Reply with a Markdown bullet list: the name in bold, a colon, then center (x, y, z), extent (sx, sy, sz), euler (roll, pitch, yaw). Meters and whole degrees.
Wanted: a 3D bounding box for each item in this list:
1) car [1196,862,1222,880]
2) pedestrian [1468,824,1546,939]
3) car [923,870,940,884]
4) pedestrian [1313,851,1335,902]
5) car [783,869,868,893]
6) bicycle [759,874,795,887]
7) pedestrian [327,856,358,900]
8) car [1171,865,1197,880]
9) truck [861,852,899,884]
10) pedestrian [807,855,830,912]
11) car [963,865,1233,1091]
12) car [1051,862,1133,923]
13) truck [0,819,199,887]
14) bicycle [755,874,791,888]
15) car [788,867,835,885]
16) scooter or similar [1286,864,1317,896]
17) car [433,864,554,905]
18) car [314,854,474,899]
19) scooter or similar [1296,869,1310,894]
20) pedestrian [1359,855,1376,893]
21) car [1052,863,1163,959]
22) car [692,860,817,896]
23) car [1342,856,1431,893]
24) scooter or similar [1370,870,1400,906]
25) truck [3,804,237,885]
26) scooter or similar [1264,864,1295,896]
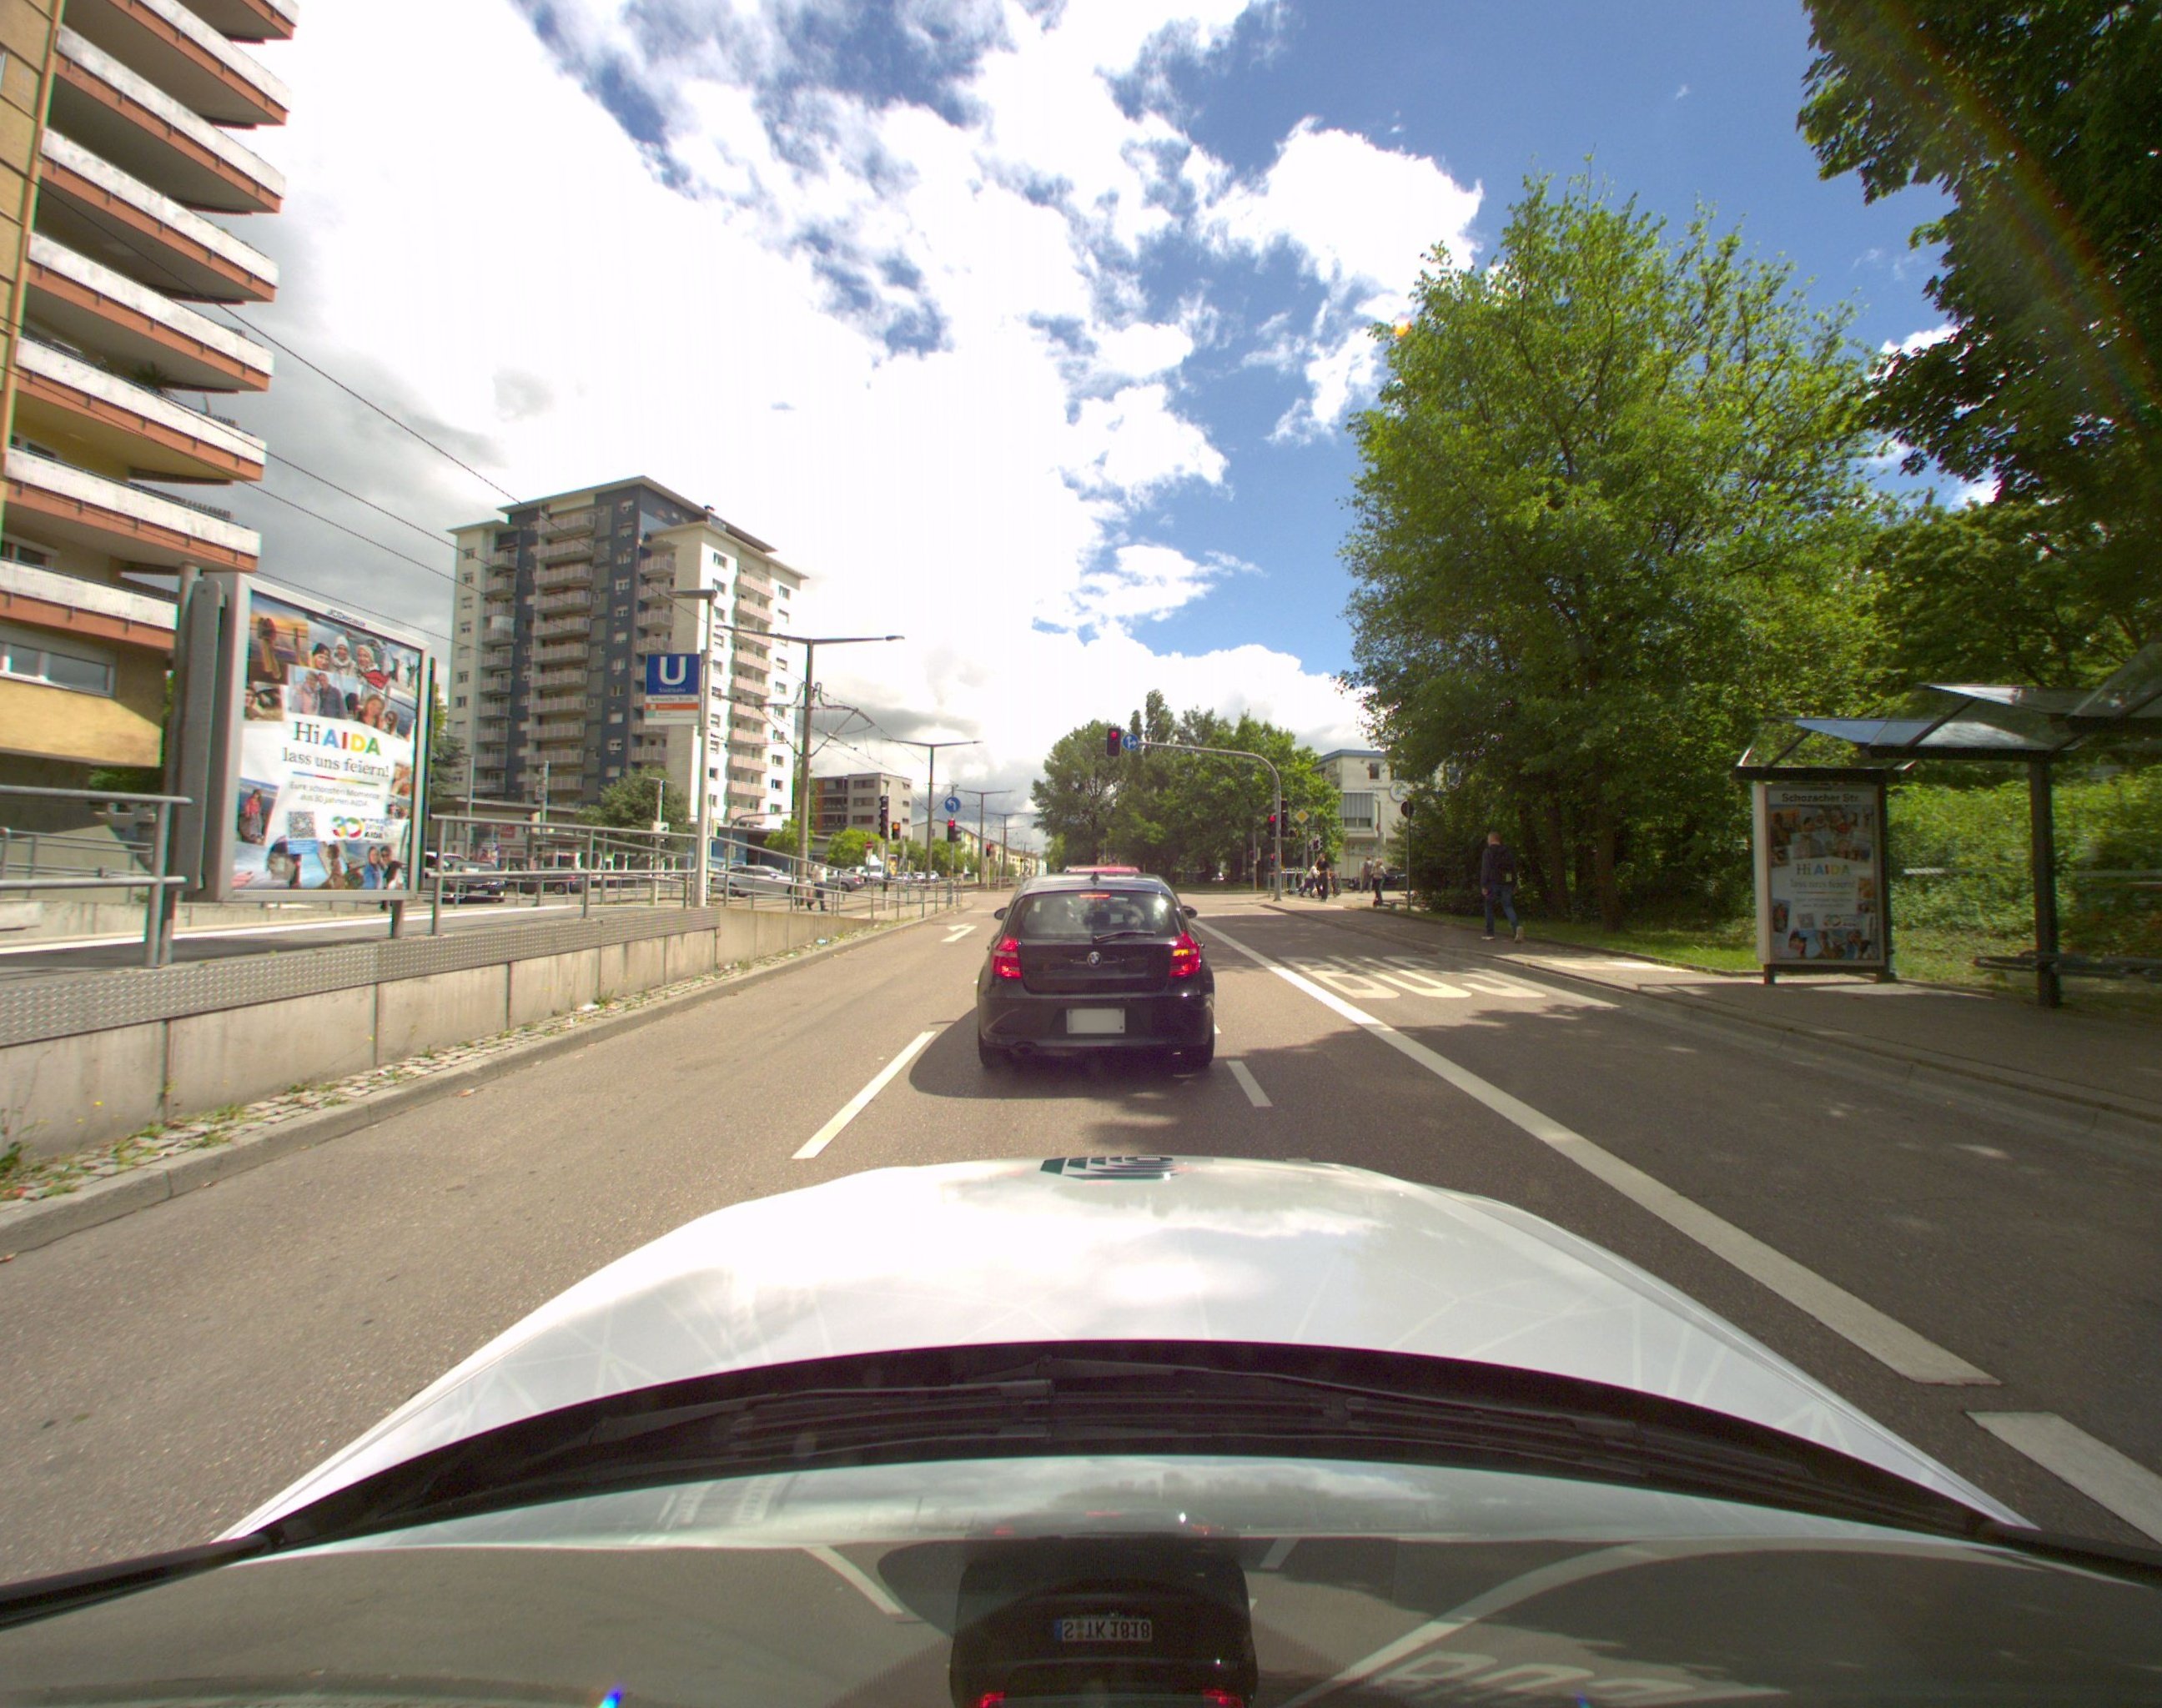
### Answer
- **car**: center (13.468, 1.778, 85.680), extent (1.724, 1.871, 3.990), euler (0, -1, -7)
- **pedestrian**: center (7.201, 0.459, 13.824), extent (0.792, 1.876, 1.014), euler (0, -1, 1)
- **car**: center (-20.198, 3.084, 110.211), extent (1.586, 1.756, 3.775), euler (0, -1, 1)
- **pedestrian**: center (9.032, 0.818, 30.281), extent (0.637, 1.876, 0.515), euler (0, -1, -16)
- **car**: center (-14.721, 1.564, 47.157), extent (4.437, 1.329, 1.676), euler (0, -1, -6)
- **bicycle**: center (-24.276, 2.138, 65.077), extent (2.570, 1.009, 0.749), euler (2, -3, -27)
- **pedestrian**: center (-24.279, 0.775, 26.765), extent (0.494, 1.440, 0.551), euler (-1, -1, 12)
- **car**: center (11.425, 2.076, 90.564), extent (1.862, 1.662, 3.987), euler (0, -1, -9)
- **truck**: center (-20.351, 1.416, 82.708), extent (2.275, 3.118, 7.312), euler (0, -1, -2)
- **pedestrian**: center (-8.239, 0.914, 25.565), extent (0.689, 1.734, 0.683), euler (0, -1, -19)
- **car**: center (0.156, 0.803, 6.841), extent (1.694, 1.400, 3.421), euler (0, -1, 2)
- **car**: center (0.335, 0.921, 21.219), extent (1.893, 1.422, 4.540), euler (0, -1, 2)
- **truck**: center (-34.573, -0.020, 28.754), extent (4.262, 2.290, 2.352), euler (0, -1, 2)
- **bicycle**: center (-24.153, 2.128, 63.972), extent (2.570, 1.009, 0.749), euler (2, -3, -27)
- **car**: center (-25.936, 2.099, 78.495), extent (3.945, 1.647, 1.637), euler (0, -1, -41)
- **scooter or similar**: center (8.906, 1.036, 32.860), extent (1.145, 1.272, 0.556), euler (0, -1, 6)
- **car**: center (-21.529, 1.080, 30.056), extent (1.573, 1.405, 3.866), euler (-1, -1, 2)
- **car**: center (-29.938, 0.974, 35.599), extent (5.156, 1.893, 1.999), euler (0, -1, -2)
- **scooter or similar**: center (9.482, 1.167, 34.801), extent (0.543, 1.064, 1.267), euler (0, -1, 16)
- **pedestrian**: center (13.262, 0.926, 37.755), extent (0.651, 1.713, 0.465), euler (-1, -1, 31)
- **car**: center (0.447, 0.858, 13.742), extent (1.632, 1.400, 3.421), euler (0, -1, 2)
- **car**: center (-14.549, 1.048, 36.501), extent (4.784, 1.522, 1.996), euler (0, -1, -6)
- **car**: center (18.064, 1.184, 48.261), extent (4.530, 2.014, 1.995), euler (-2, -1, -7)
- **scooter or similar**: center (10.606, 1.171, 28.439), extent (0.887, 1.230, 0.454), euler (0, -1, -3)
- **truck**: center (-41.867, -0.370, 35.631), extent (7.240, 3.348, 2.609), euler (0, -1, 2)
- **scooter or similar**: center (7.724, 1.019, 31.723), extent (1.105, 1.235, 0.540), euler (0, -1, 4)
